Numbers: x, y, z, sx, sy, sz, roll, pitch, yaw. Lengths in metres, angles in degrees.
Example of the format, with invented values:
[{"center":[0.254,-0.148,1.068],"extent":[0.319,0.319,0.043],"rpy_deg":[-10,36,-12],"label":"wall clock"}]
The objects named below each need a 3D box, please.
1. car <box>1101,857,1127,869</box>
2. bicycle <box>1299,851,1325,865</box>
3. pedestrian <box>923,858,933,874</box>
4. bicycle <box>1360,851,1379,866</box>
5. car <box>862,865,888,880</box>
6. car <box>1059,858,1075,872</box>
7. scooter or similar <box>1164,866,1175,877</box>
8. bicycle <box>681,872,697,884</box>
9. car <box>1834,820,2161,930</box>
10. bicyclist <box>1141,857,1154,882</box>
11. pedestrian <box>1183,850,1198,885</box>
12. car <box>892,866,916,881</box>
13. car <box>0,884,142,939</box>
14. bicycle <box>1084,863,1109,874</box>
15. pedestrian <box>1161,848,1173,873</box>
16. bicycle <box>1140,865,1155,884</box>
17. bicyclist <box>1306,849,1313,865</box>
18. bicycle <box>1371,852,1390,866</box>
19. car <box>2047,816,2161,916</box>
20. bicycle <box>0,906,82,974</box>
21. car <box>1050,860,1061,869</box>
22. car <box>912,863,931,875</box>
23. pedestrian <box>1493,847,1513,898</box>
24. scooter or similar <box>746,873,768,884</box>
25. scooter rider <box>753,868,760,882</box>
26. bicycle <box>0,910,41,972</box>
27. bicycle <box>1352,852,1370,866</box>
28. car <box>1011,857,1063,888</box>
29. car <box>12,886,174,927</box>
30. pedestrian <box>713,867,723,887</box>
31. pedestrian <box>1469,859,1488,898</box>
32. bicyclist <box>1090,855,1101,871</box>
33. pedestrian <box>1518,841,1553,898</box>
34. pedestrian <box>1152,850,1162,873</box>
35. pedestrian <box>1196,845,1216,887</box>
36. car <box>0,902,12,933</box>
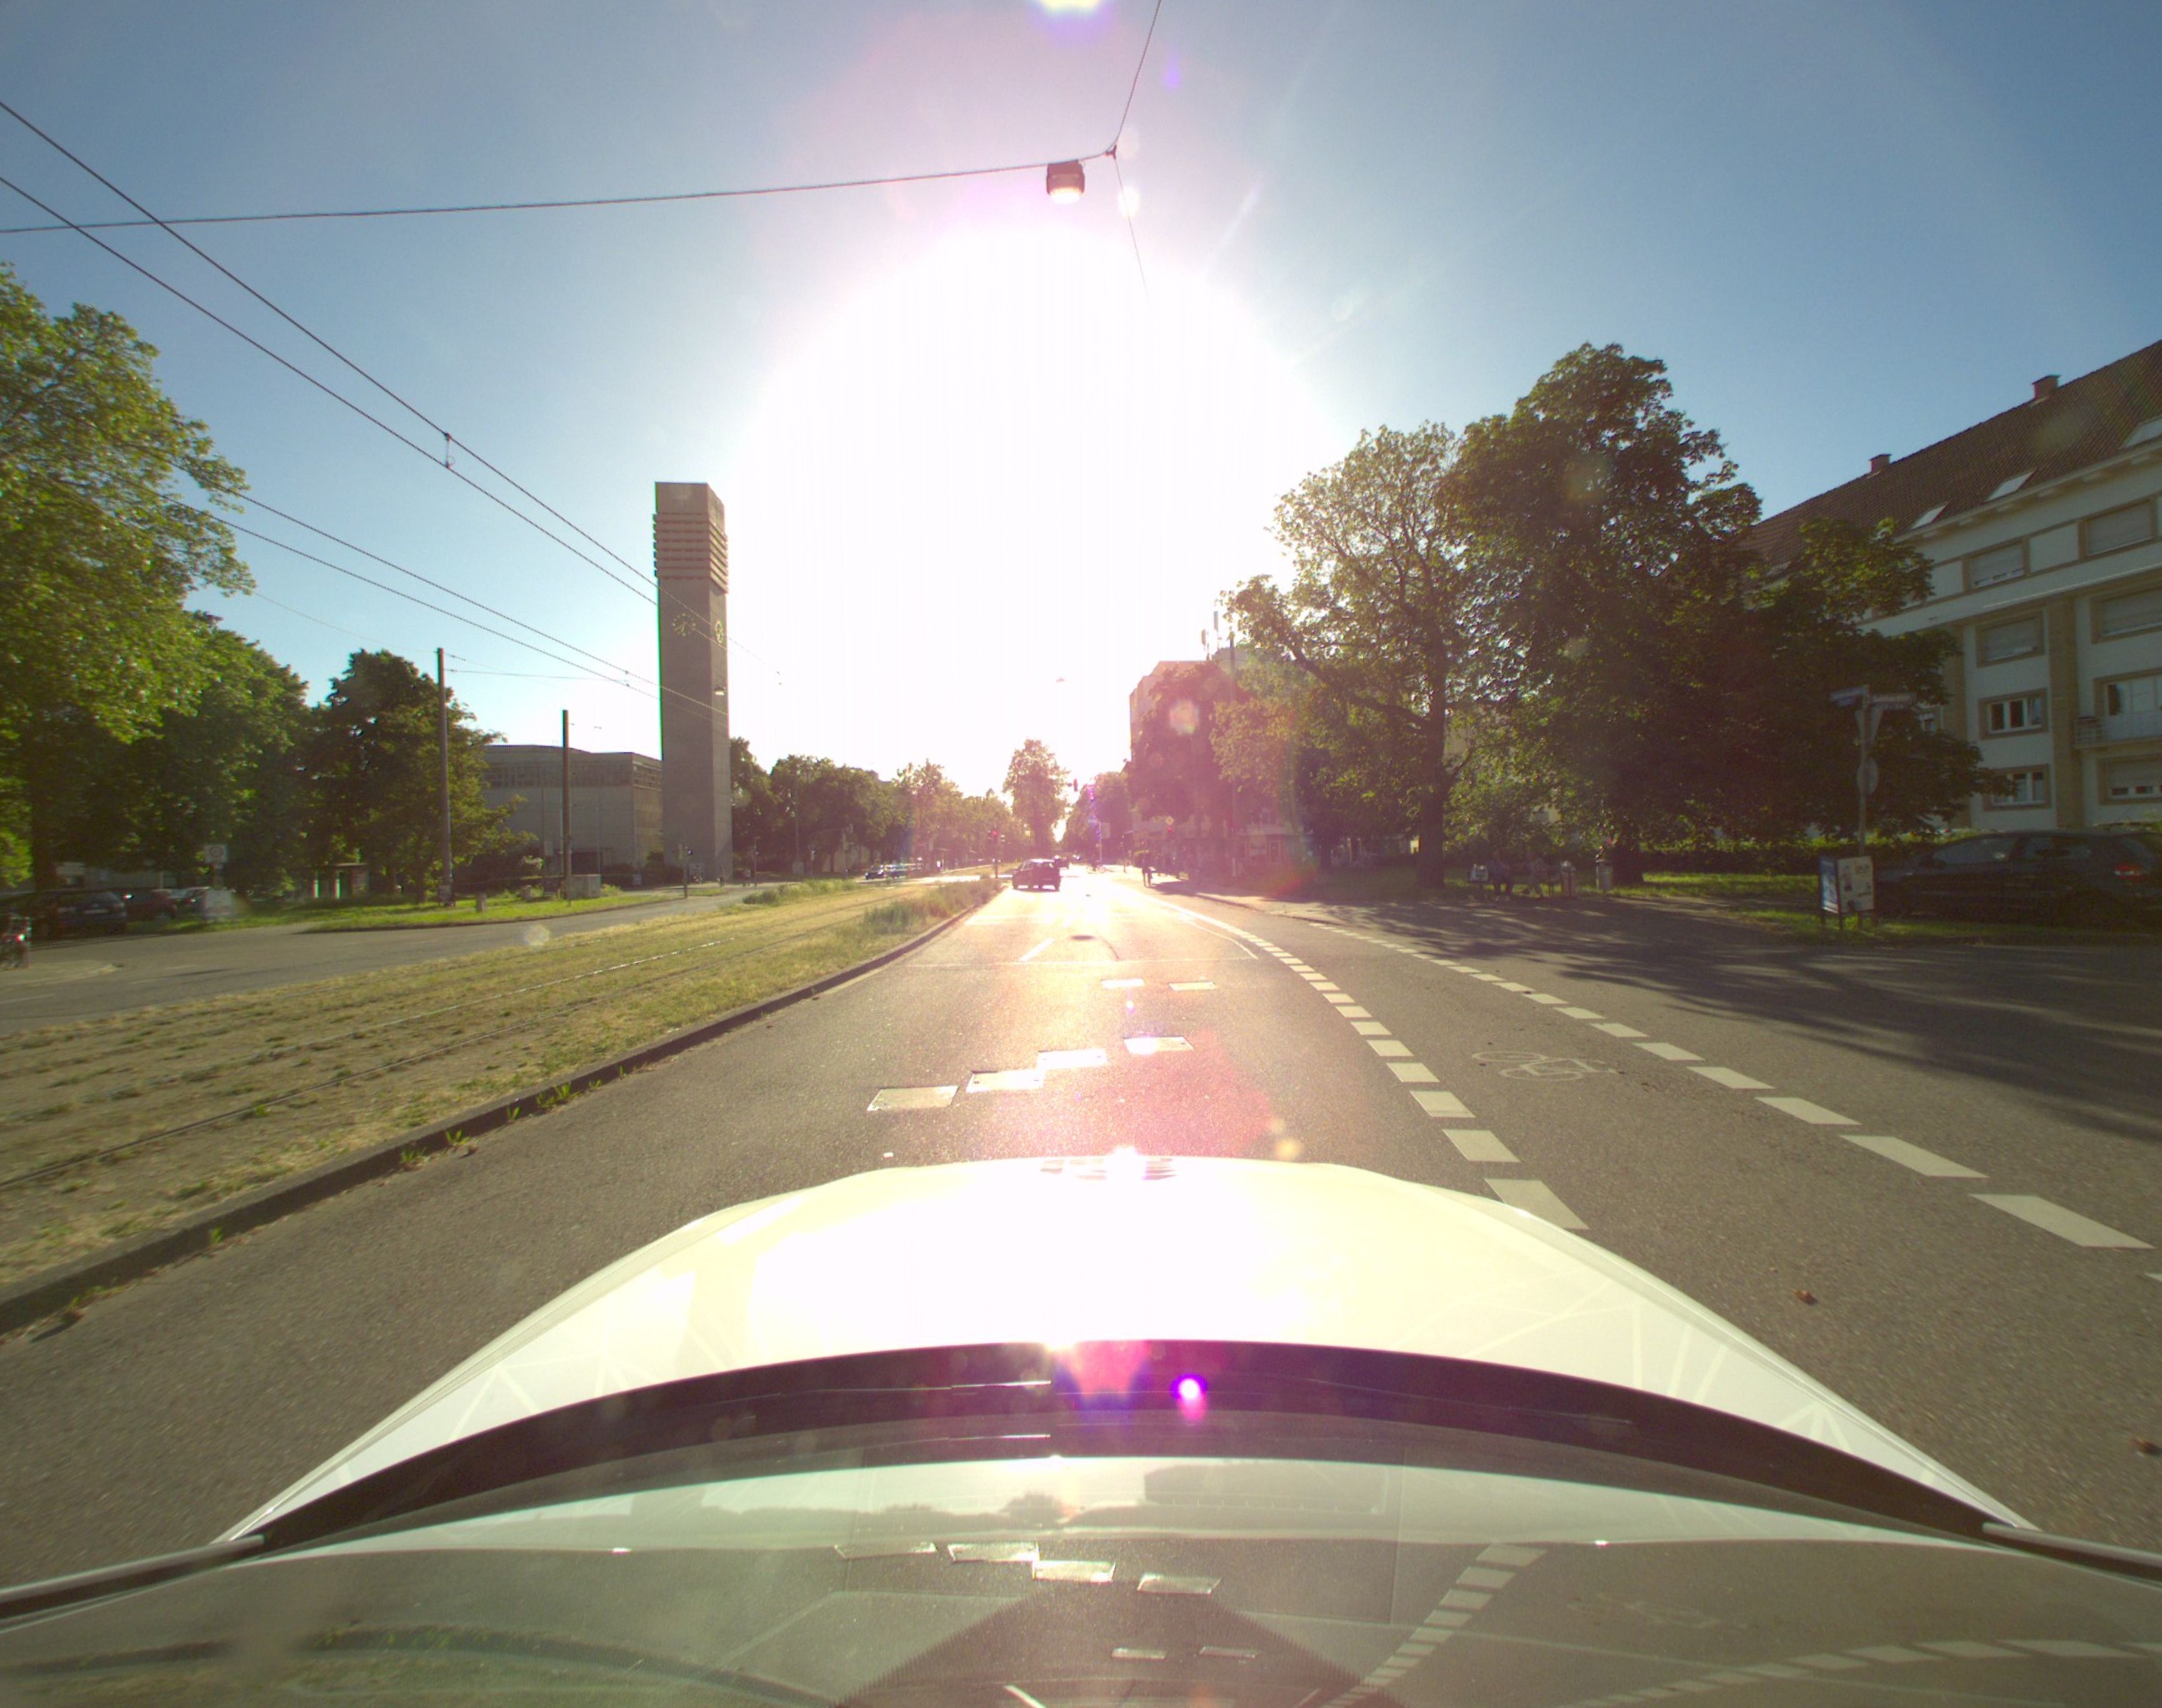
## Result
[{"center":[5.320,1.460,131.768],"extent":[3.966,1.860,2.016],"rpy_deg":[1,-1,7],"label":"car"},{"center":[22.879,0.376,80.640],"extent":[2.465,1.399,0.607],"rpy_deg":[1,-1,-4],"label":"bicycle"},{"center":[-15.244,1.215,81.264],"extent":[0.888,1.606,0.613],"rpy_deg":[1,-1,-3],"label":"pedestrian"},{"center":[21.295,0.343,60.089],"extent":[0.595,1.034,2.005],"rpy_deg":[1,0,-3],"label":"bicycle"},{"center":[-22.190,1.977,88.035],"extent":[1.802,1.533,4.357],"rpy_deg":[-2,0,-2],"label":"car"},{"center":[-1.891,1.454,109.604],"extent":[1.964,1.860,3.994],"rpy_deg":[1,0,-4],"label":"car"},{"center":[5.951,1.181,54.793],"extent":[0.596,0.737,0.680],"rpy_deg":[1,-1,-3],"label":"scooter or similar"},{"center":[-35.342,2.196,73.456],"extent":[0.488,1.046,1.685],"rpy_deg":[1,-1,5],"label":"bicycle"},{"center":[15.062,0.291,13.272],"extent":[1.638,1.494,3.790],"rpy_deg":[-3,0,-14],"label":"car"},{"center":[3.532,0.835,43.165],"extent":[0.636,1.323,0.803],"rpy_deg":[1,-1,0],"label":"bicyclist"},{"center":[4.866,0.613,36.348],"extent":[0.527,1.529,0.628],"rpy_deg":[-3,-1,3],"label":"pedestrian"},{"center":[-19.222,2.062,88.561],"extent":[1.683,1.533,4.357],"rpy_deg":[-2,0,-2],"label":"car"},{"center":[-33.512,1.892,26.858],"extent":[3.956,1.601,1.757],"rpy_deg":[-2,0,16],"label":"car"},{"center":[1.534,1.392,80.138],"extent":[2.236,0.987,0.792],"rpy_deg":[-1,4,13],"label":"bicycle"},{"center":[5.870,0.460,55.424],"extent":[0.725,1.682,0.534],"rpy_deg":[1,-1,10],"label":"pedestrian"},{"center":[3.515,1.090,42.982],"extent":[0.646,0.973,1.803],"rpy_deg":[1,-1,1],"label":"bicycle"},{"center":[22.431,0.333,79.945],"extent":[0.526,1.567,0.463],"rpy_deg":[1,-1,-5],"label":"bicyclist"},{"center":[21.958,0.375,59.665],"extent":[0.595,1.034,1.989],"rpy_deg":[1,0,-3],"label":"bicycle"},{"center":[17.899,0.164,12.579],"extent":[1.446,1.572,3.810],"rpy_deg":[-3,0,1],"label":"car"},{"center":[-21.602,1.742,16.923],"extent":[0.522,1.252,2.067],"rpy_deg":[1,-2,-36],"label":"bicycle"},{"center":[-4.680,1.951,148.492],"extent":[1.890,1.611,4.494],"rpy_deg":[1,0,-3],"label":"car"},{"center":[-19.177,1.821,97.887],"extent":[1.562,1.402,3.911],"rpy_deg":[1,0,-2],"label":"car"},{"center":[10.392,0.450,20.074],"extent":[0.399,1.226,0.765],"rpy_deg":[0,-1,24],"label":"pedestrian"},{"center":[-28.348,2.178,71.324],"extent":[1.739,0.899,0.560],"rpy_deg":[-2,-1,-18],"label":"scooter or similar"},{"center":[-28.435,1.860,71.303],"extent":[0.527,1.218,0.584],"rpy_deg":[1,-1,-17],"label":"scooter rider"},{"center":[-22.064,1.773,16.585],"extent":[0.522,1.184,2.067],"rpy_deg":[1,-3,-36],"label":"bicycle"},{"center":[20.638,0.379,60.077],"extent":[0.595,1.034,1.794],"rpy_deg":[1,-1,-3],"label":"bicycle"},{"center":[-2.294,0.912,41.554],"extent":[1.700,1.508,3.675],"rpy_deg":[0,0,-19],"label":"car"},{"center":[-38.738,2.026,32.046],"extent":[1.628,1.380,3.663],"rpy_deg":[0,0,15],"label":"car"},{"center":[-31.167,1.986,69.953],"extent":[0.440,1.666,0.748],"rpy_deg":[1,-1,7],"label":"pedestrian"},{"center":[9.936,0.606,20.381],"extent":[0.399,0.934,0.626],"rpy_deg":[0,1,24],"label":"pedestrian"},{"center":[1.445,0.874,80.138],"extent":[0.763,1.471,0.901],"rpy_deg":[-3,0,15],"label":"bicyclist"},{"center":[11.200,0.384,20.093],"extent":[0.679,1.373,0.759],"rpy_deg":[0,-1,24],"label":"pedestrian"},{"center":[5.160,0.522,55.448],"extent":[0.643,1.522,0.497],"rpy_deg":[1,-1,10],"label":"pedestrian"},{"center":[5.541,0.523,36.222],"extent":[0.700,1.789,0.695],"rpy_deg":[-4,0,3],"label":"pedestrian"},{"center":[-50.528,2.944,35.738],"extent":[1.569,1.381,4.016],"rpy_deg":[-2,0,14],"label":"car"}]
